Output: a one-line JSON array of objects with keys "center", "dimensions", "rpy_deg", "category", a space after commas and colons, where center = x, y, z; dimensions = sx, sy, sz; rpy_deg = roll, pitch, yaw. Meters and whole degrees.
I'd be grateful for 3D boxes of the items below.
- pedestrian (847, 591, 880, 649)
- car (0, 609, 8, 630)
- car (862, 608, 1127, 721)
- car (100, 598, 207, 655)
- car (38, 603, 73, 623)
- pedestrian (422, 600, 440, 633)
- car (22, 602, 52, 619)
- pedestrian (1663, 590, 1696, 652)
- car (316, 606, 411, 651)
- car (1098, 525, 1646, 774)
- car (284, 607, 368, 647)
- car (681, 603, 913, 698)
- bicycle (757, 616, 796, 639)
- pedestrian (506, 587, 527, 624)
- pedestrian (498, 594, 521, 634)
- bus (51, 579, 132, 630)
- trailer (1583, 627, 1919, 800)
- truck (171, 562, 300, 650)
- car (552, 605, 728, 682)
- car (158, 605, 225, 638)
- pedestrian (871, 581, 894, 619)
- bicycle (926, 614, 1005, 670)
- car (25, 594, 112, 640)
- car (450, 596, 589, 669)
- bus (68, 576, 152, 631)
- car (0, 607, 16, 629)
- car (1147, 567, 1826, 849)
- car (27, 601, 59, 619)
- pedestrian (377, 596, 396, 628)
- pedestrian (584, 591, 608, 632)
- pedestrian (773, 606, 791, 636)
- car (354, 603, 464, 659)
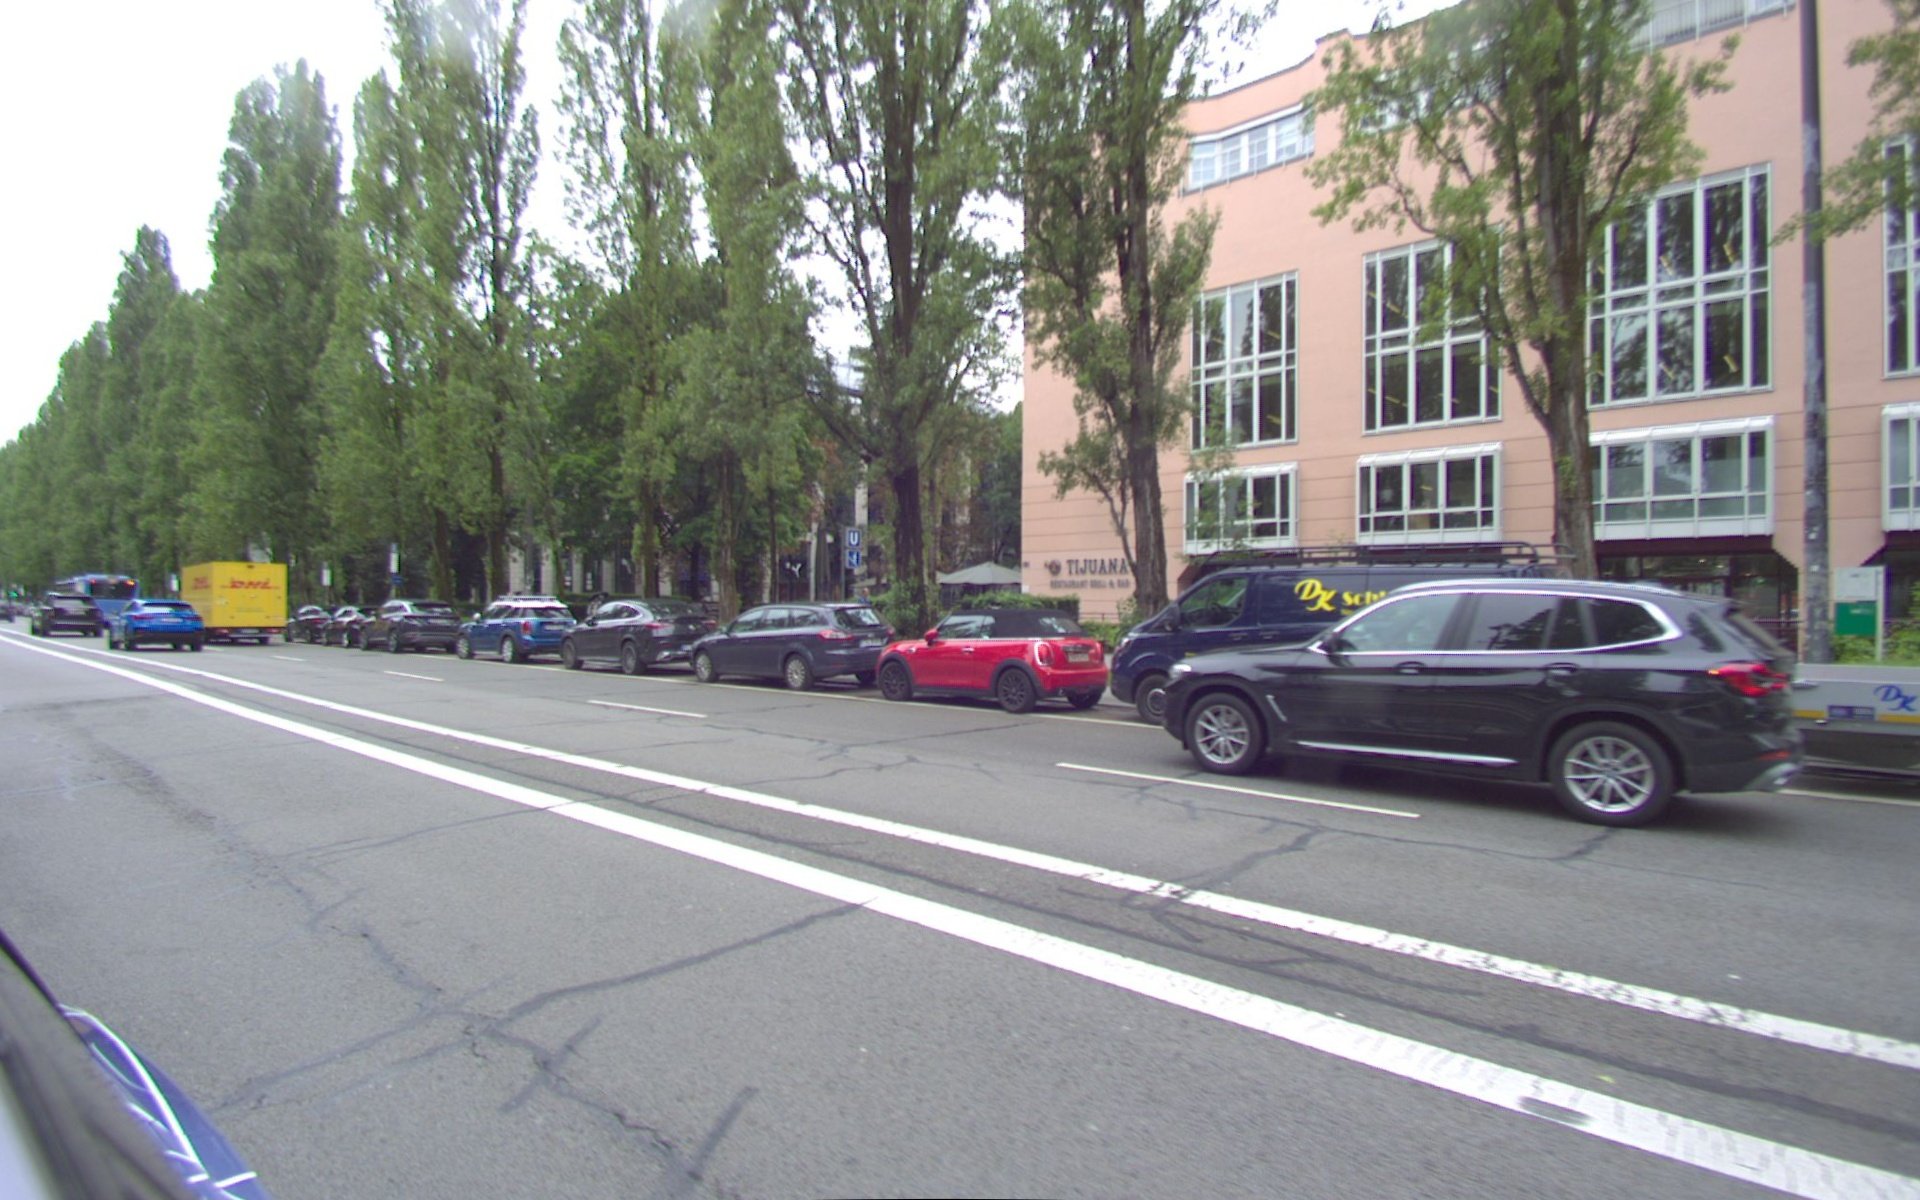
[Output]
[{"center": [-2.905, 0.586, 30.505], "dimensions": [0.732, 1.726, 0.699], "rpy_deg": [0, 0, 43], "category": "pedestrian"}, {"center": [-80.685, 1.592, 84.092], "dimensions": [4.816, 1.735, 1.971], "rpy_deg": [0, -1, 43], "category": "car"}, {"center": [0.410, 0.852, 15.085], "dimensions": [1.653, 1.459, 3.876], "rpy_deg": [0, 0, -45], "category": "car"}, {"center": [-24.438, 0.770, 30.623], "dimensions": [4.422, 1.591, 1.845], "rpy_deg": [0, -2, 43], "category": "car"}, {"center": [-83.506, 1.198, 93.451], "dimensions": [4.816, 1.735, 1.971], "rpy_deg": [0, -1, 43], "category": "car"}, {"center": [-28.507, 0.890, 54.537], "dimensions": [0.732, 1.726, 0.699], "rpy_deg": [0, 0, 43], "category": "pedestrian"}, {"center": [-96.309, 1.070, 105.547], "dimensions": [4.349, 1.735, 1.971], "rpy_deg": [0, -1, 43], "category": "car"}, {"center": [20.059, 0.570, 28.225], "dimensions": [0.649, 1.704, 0.666], "rpy_deg": [0, 0, 45], "category": "pedestrian"}, {"center": [-20.338, 0.936, 34.444], "dimensions": [3.882, 1.422, 1.768], "rpy_deg": [0, 0, 43], "category": "car"}, {"center": [4.421, 0.453, 11.631], "dimensions": [5.497, 2.214, 1.995], "rpy_deg": [0, 0, 43], "category": "car"}, {"center": [-24.005, 0.997, 38.260], "dimensions": [3.882, 1.422, 1.768], "rpy_deg": [0, 0, 43], "category": "car"}, {"center": [-3.110, 0.834, 18.640], "dimensions": [4.623, 1.540, 1.768], "rpy_deg": [0, 0, 43], "category": "car"}, {"center": [-6.889, 1.023, 37.980], "dimensions": [1.341, 0.862, 0.533], "rpy_deg": [0, 0, -23], "category": "bicycle"}, {"center": [-21.281, 0.264, 48.611], "dimensions": [0.732, 1.726, 0.699], "rpy_deg": [0, 0, 43], "category": "pedestrian"}, {"center": [-19.857, 0.623, 44.645], "dimensions": [0.732, 1.726, 0.699], "rpy_deg": [0, 0, 43], "category": "pedestrian"}, {"center": [-56.772, 0.336, 66.046], "dimensions": [9.795, 3.075, 2.886], "rpy_deg": [-1, -1, 42], "category": "bus"}, {"center": [8.549, 0.877, 7.813], "dimensions": [6.039, 1.208, 2.370], "rpy_deg": [0, 0, 43], "category": "trailer"}, {"center": [-26.597, 0.204, 37.017], "dimensions": [7.082, 2.929, 2.564], "rpy_deg": [0, 0, 44], "category": "truck"}, {"center": [-7.195, 0.880, 22.522], "dimensions": [4.514, 1.540, 1.768], "rpy_deg": [0, 0, 43], "category": "car"}, {"center": [-34.420, 0.923, 45.307], "dimensions": [3.882, 1.422, 1.768], "rpy_deg": [0, 0, 43], "category": "car"}, {"center": [-3.592, 0.013, 46.949], "dimensions": [0.881, 1.726, 0.735], "rpy_deg": [0, 0, 9], "category": "pedestrian"}, {"center": [0.135, 0.862, 21.352], "dimensions": [0.676, 1.133, 1.717], "rpy_deg": [-1, -1, 43], "category": "bicycle"}, {"center": [-37.419, 0.723, 42.436], "dimensions": [5.061, 1.762, 1.973], "rpy_deg": [0, -3, 41], "category": "car"}, {"center": [-11.566, 0.815, 26.478], "dimensions": [4.077, 1.745, 1.769], "rpy_deg": [0, -2, 41], "category": "car"}, {"center": [-50.835, 0.238, 60.441], "dimensions": [8.518, 3.075, 2.886], "rpy_deg": [-1, -1, 43], "category": "bus"}, {"center": [-66.586, 1.229, 69.915], "dimensions": [3.754, 1.538, 1.822], "rpy_deg": [0, -1, 44], "category": "car"}, {"center": [4.000, 0.672, 8.233], "dimensions": [4.551, 1.655, 1.972], "rpy_deg": [-1, -2, 43], "category": "car"}, {"center": [-91.013, 1.022, 100.398], "dimensions": [4.349, 1.735, 1.971], "rpy_deg": [0, -1, 43], "category": "car"}, {"center": [-30.738, 0.650, 54.214], "dimensions": [0.732, 1.726, 0.699], "rpy_deg": [0, 0, 43], "category": "pedestrian"}, {"center": [-15.328, 0.478, 42.586], "dimensions": [0.732, 1.726, 0.699], "rpy_deg": [0, 0, 43], "category": "pedestrian"}, {"center": [-10.317, 1.224, 58.616], "dimensions": [0.709, 1.726, 0.722], "rpy_deg": [0, 0, 40], "category": "pedestrian"}, {"center": [-17.078, 0.915, 31.284], "dimensions": [4.237, 1.613, 1.768], "rpy_deg": [0, 0, 43], "category": "car"}]
